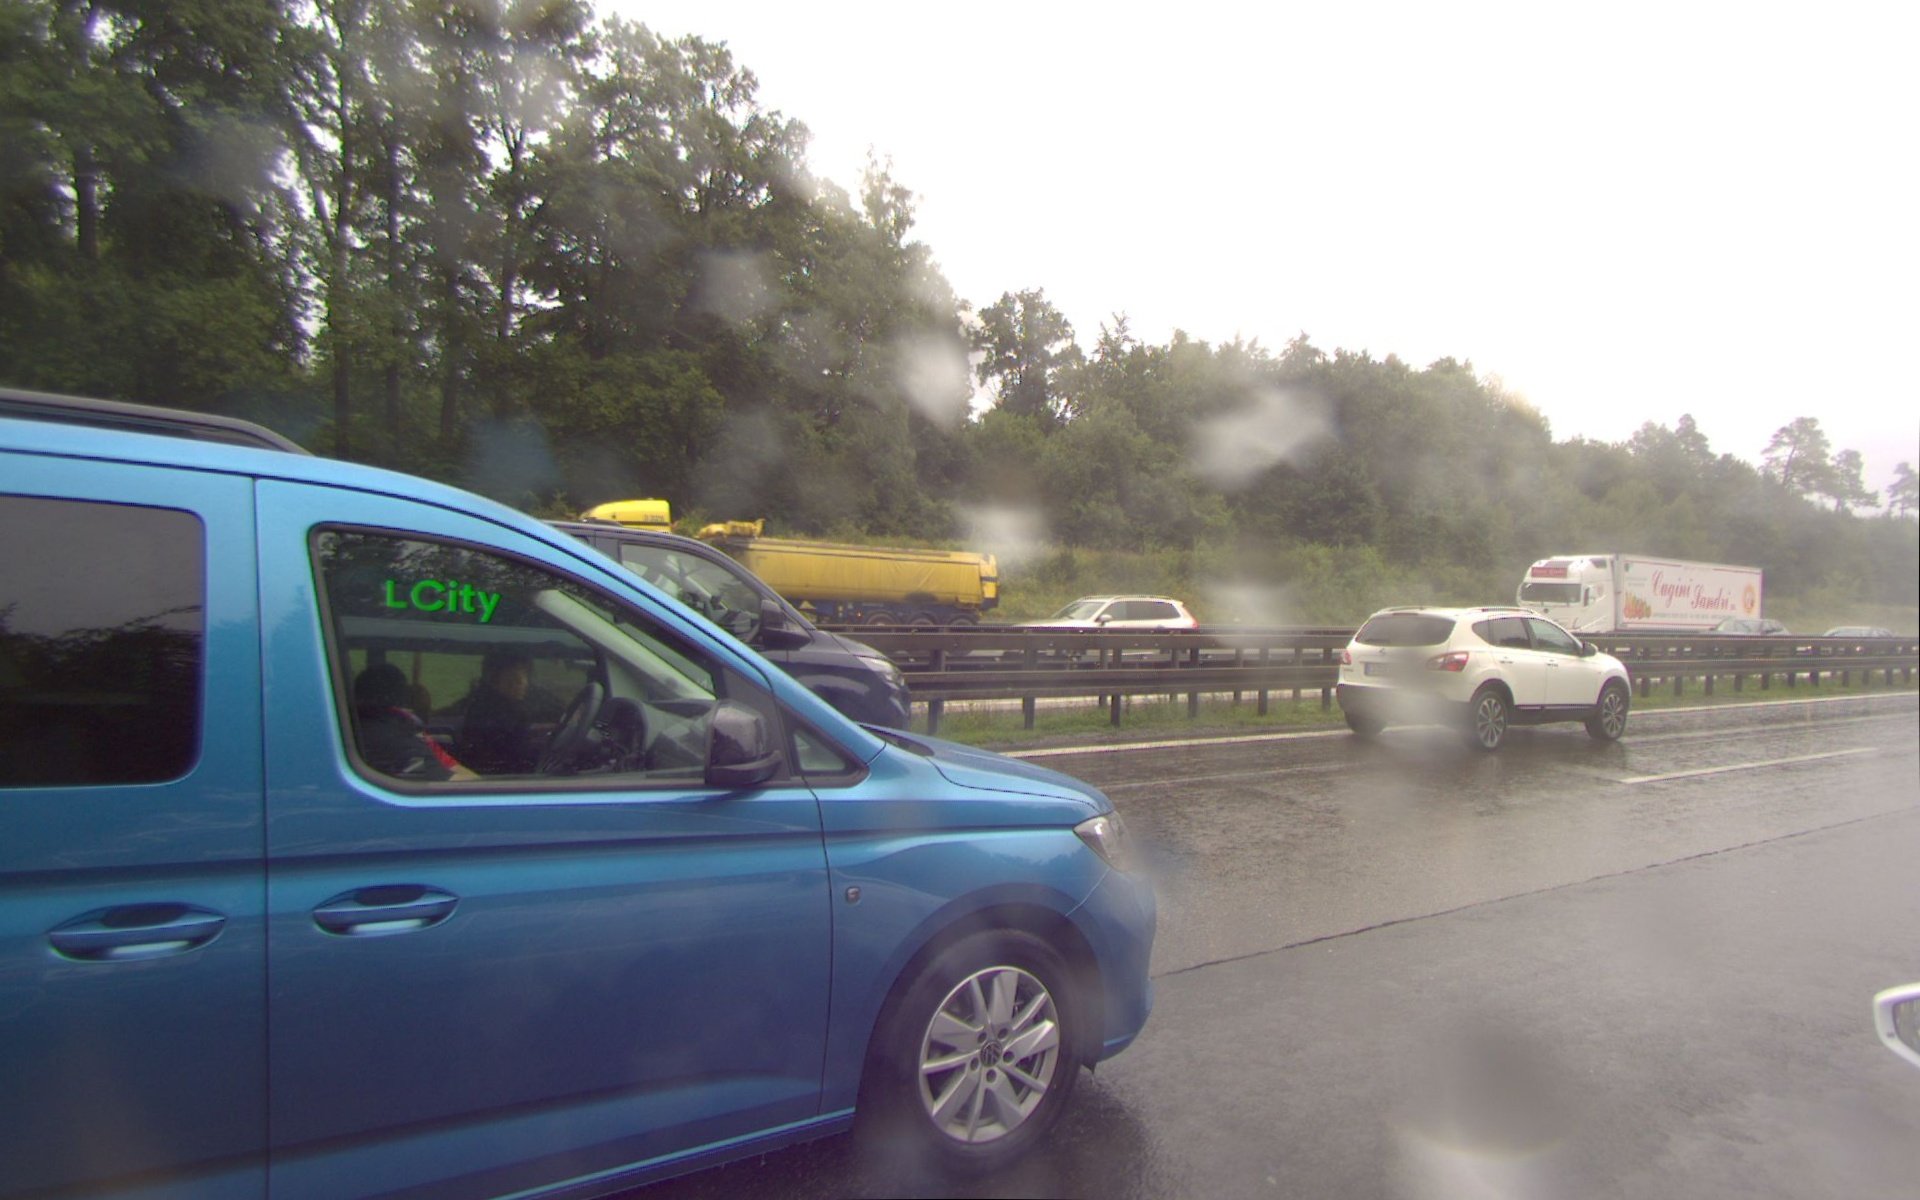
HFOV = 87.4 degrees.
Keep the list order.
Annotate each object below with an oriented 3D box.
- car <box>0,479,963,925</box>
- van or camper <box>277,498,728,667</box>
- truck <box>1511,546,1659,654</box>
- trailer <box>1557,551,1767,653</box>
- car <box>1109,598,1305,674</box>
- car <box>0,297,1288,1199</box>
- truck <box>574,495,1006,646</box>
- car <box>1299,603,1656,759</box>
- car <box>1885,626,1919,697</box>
[{"bbox_3d":[-2.714,0.491,6.477,5.181,1.970,1.982,1,0,-30],"label":"car"},{"bbox_3d":[-8.888,-0.233,20.298,7.909,2.908,2.155,1,0,-31],"label":"van or camper"},{"bbox_3d":[25.460,0.062,40.838,6.253,4.079,2.527,1,0,-32],"label":"truck"},{"bbox_3d":[31.514,0.219,44.712,13.698,4.079,2.526,1,0,-33],"label":"trailer"},{"bbox_3d":[6.117,0.857,24.717,4.653,1.700,1.938,1,0,-30],"label":"car"},{"bbox_3d":[-1.733,0.496,2.715,4.956,1.937,2.259,1,0,-30],"label":"car"},{"bbox_3d":[-4.257,-0.579,27.586,11.584,3.530,2.506,1,0,-31],"label":"truck"},{"bbox_3d":[6.479,0.884,12.473,4.413,1.613,1.837,1,0,-30],"label":"car"},{"bbox_3d":[24.085,1.448,23.866,4.413,1.613,1.837,1,0,-30],"label":"car"}]
